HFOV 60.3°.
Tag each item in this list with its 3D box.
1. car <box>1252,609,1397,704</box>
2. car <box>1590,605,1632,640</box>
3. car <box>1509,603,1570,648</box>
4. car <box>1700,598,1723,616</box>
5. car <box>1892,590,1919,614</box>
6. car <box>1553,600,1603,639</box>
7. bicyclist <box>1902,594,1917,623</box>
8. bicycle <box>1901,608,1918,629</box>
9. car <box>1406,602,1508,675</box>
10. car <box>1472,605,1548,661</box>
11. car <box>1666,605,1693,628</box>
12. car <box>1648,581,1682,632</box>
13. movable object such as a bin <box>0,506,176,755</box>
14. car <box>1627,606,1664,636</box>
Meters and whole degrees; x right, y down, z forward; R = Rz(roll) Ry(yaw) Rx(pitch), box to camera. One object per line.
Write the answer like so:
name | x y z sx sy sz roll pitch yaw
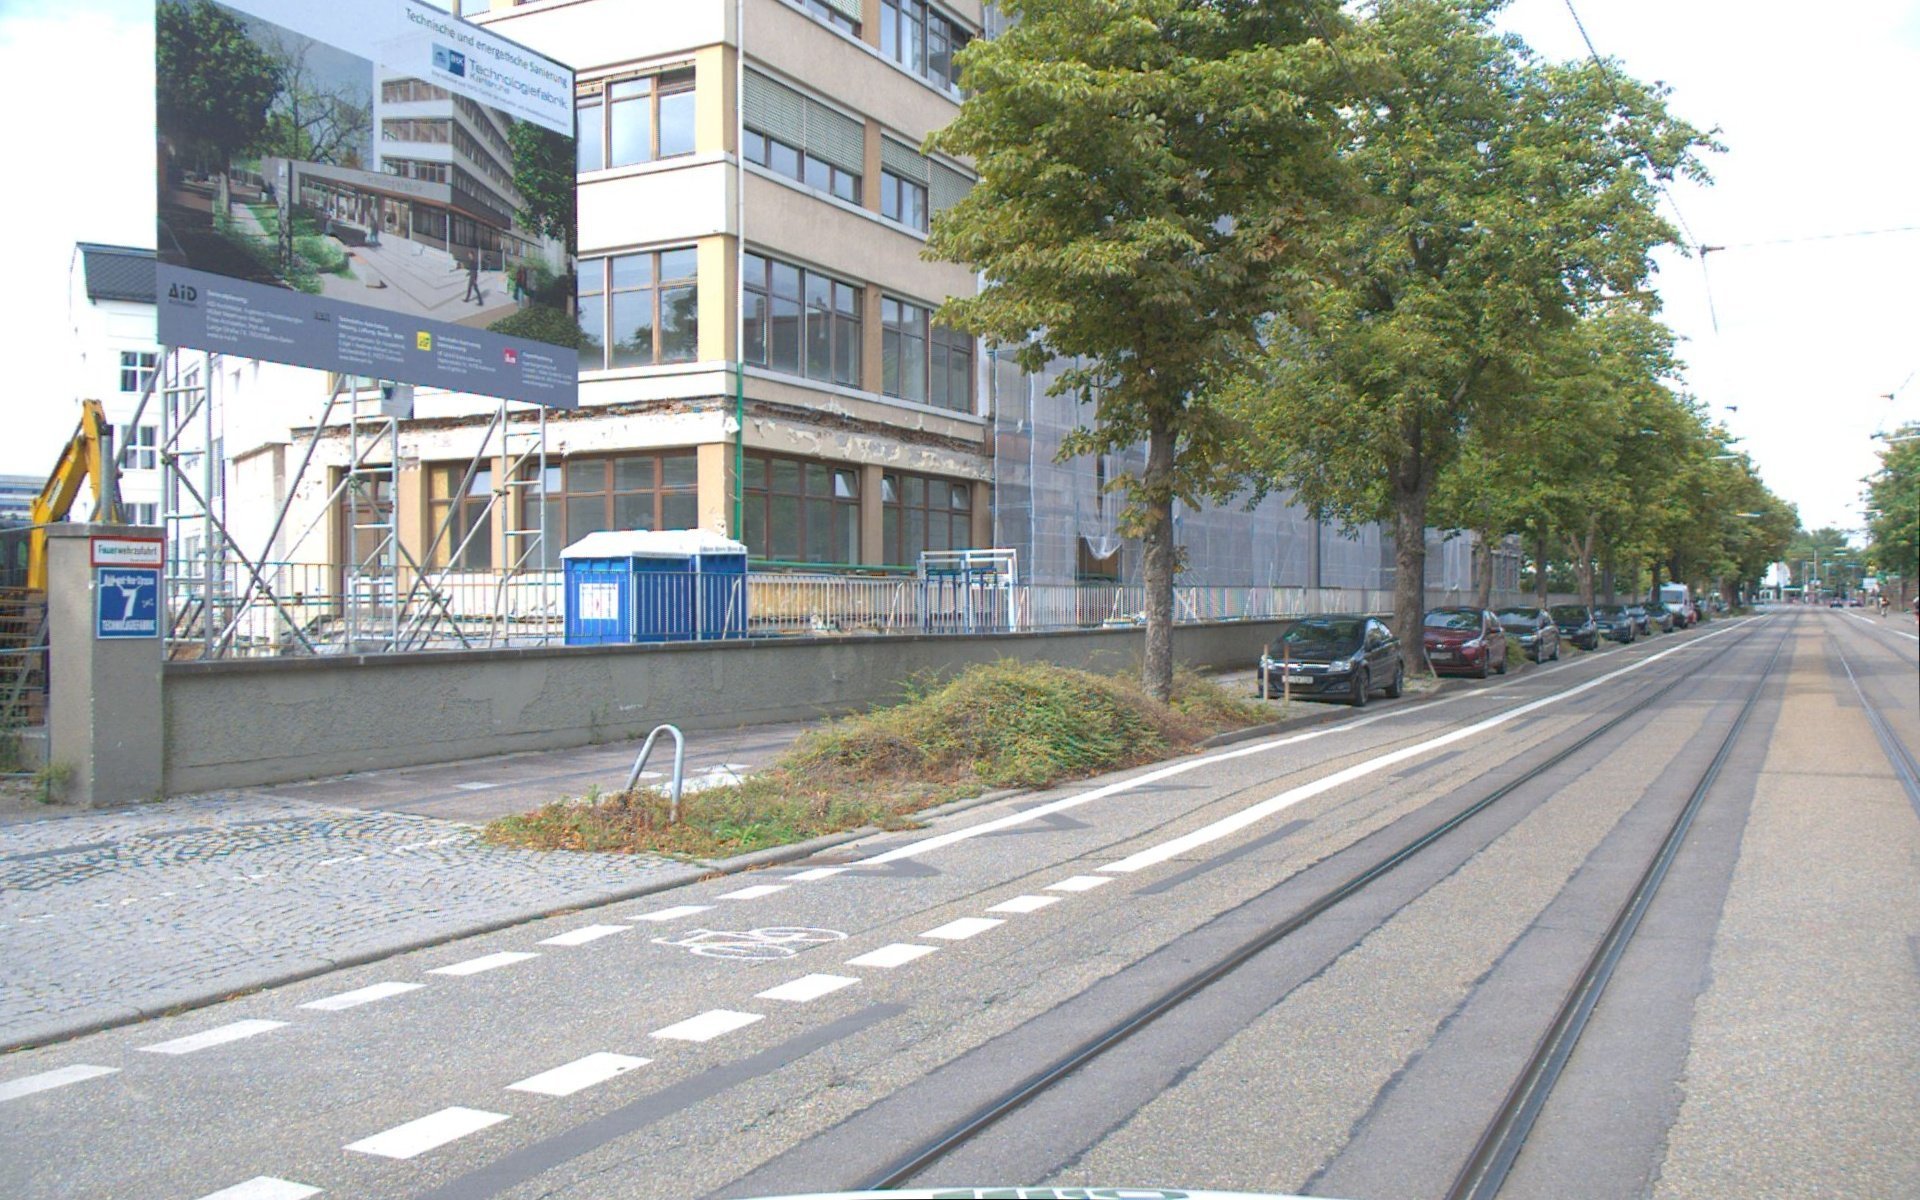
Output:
car | 6.104 0.878 27.407 1.559 1.427 3.960 0 0 24
car | 28.599 0.966 72.615 1.559 1.427 3.960 0 0 24
car | 19.112 0.808 54.445 1.559 1.427 3.960 0 0 24
car | 60.239 0.516 132.601 1.559 1.427 3.546 0 0 26
car | 70.370 0.148 120.684 3.905 1.722 2.000 0 0 22
car | 23.787 0.714 63.610 1.559 1.427 3.960 0 0 24
bicyclist | 49.676 0.438 86.563 0.581 1.485 0.875 0 0 24
bicycle | 49.673 0.961 86.563 0.581 1.062 1.977 0 0 24
car | 11.095 0.805 36.756 1.603 1.522 3.959 0 0 26
car | 14.991 0.869 45.003 1.559 1.427 3.960 0 0 24
car | 45.461 1.034 104.463 1.559 1.427 3.960 0 0 24
car | 39.808 0.353 93.353 1.686 2.751 5.467 0 0 24
movable object such as a bin | -10.451 0.316 17.865 3.001 2.486 2.487 0 -1 37
car | 33.638 1.025 81.161 1.559 1.427 3.960 0 0 24
